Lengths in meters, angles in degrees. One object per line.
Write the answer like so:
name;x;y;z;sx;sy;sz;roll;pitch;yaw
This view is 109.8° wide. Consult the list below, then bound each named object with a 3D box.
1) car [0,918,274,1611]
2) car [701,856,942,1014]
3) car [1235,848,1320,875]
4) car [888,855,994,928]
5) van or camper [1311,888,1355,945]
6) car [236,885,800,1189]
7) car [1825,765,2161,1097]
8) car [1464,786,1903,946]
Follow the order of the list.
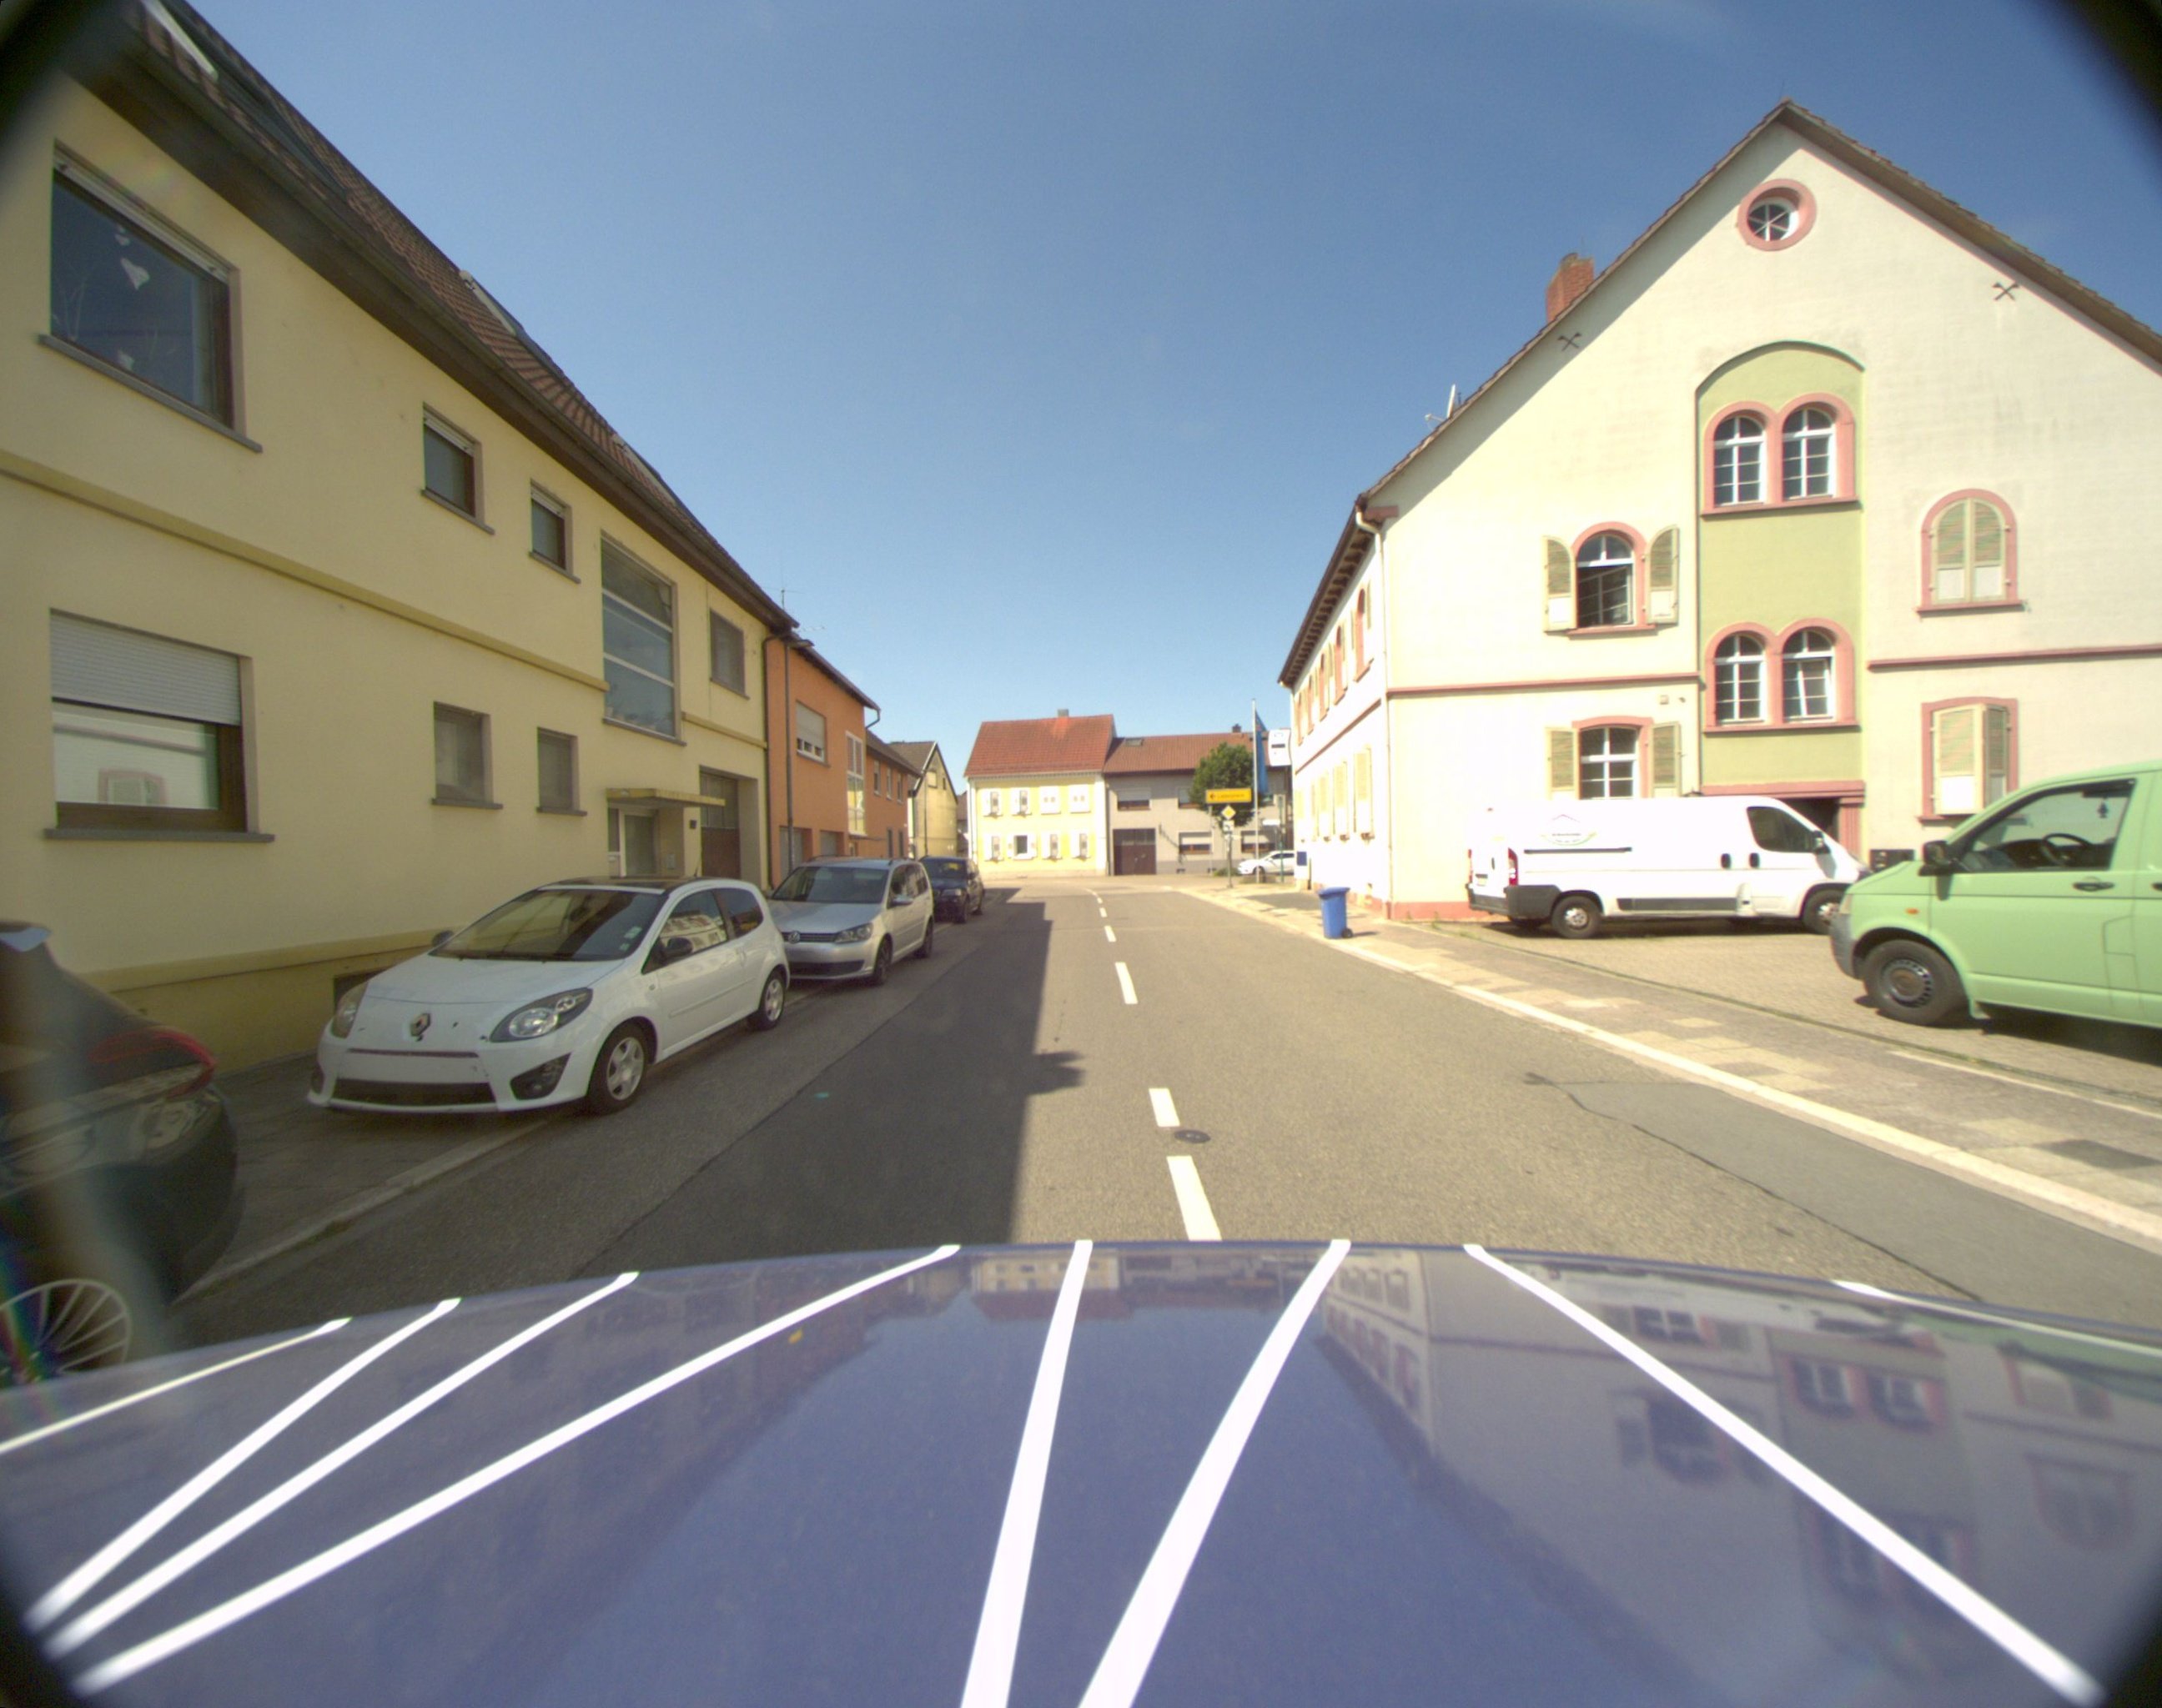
car;-3.373;1.010;0.353;1.703;1.574;4.026;-1;0;-1
car;-3.392;0.942;10.927;1.903;1.718;4.248;-2;0;0
car;11.768;0.416;45.668;4.511;1.432;1.854;-2;0;-3
car;-3.675;0.915;20.879;1.849;1.693;5.180;-1;0;1
van or camper;4.493;1.099;13.564;0.590;0.946;0.600;-2;1;6
car;-3.676;1.050;5.894;1.555;1.430;3.720;-1;0;0
car;7.344;0.424;4.162;1.998;1.953;4.669;-2;0;1
car;9.394;0.222;12.391;5.185;2.184;2.124;-3;0;10
